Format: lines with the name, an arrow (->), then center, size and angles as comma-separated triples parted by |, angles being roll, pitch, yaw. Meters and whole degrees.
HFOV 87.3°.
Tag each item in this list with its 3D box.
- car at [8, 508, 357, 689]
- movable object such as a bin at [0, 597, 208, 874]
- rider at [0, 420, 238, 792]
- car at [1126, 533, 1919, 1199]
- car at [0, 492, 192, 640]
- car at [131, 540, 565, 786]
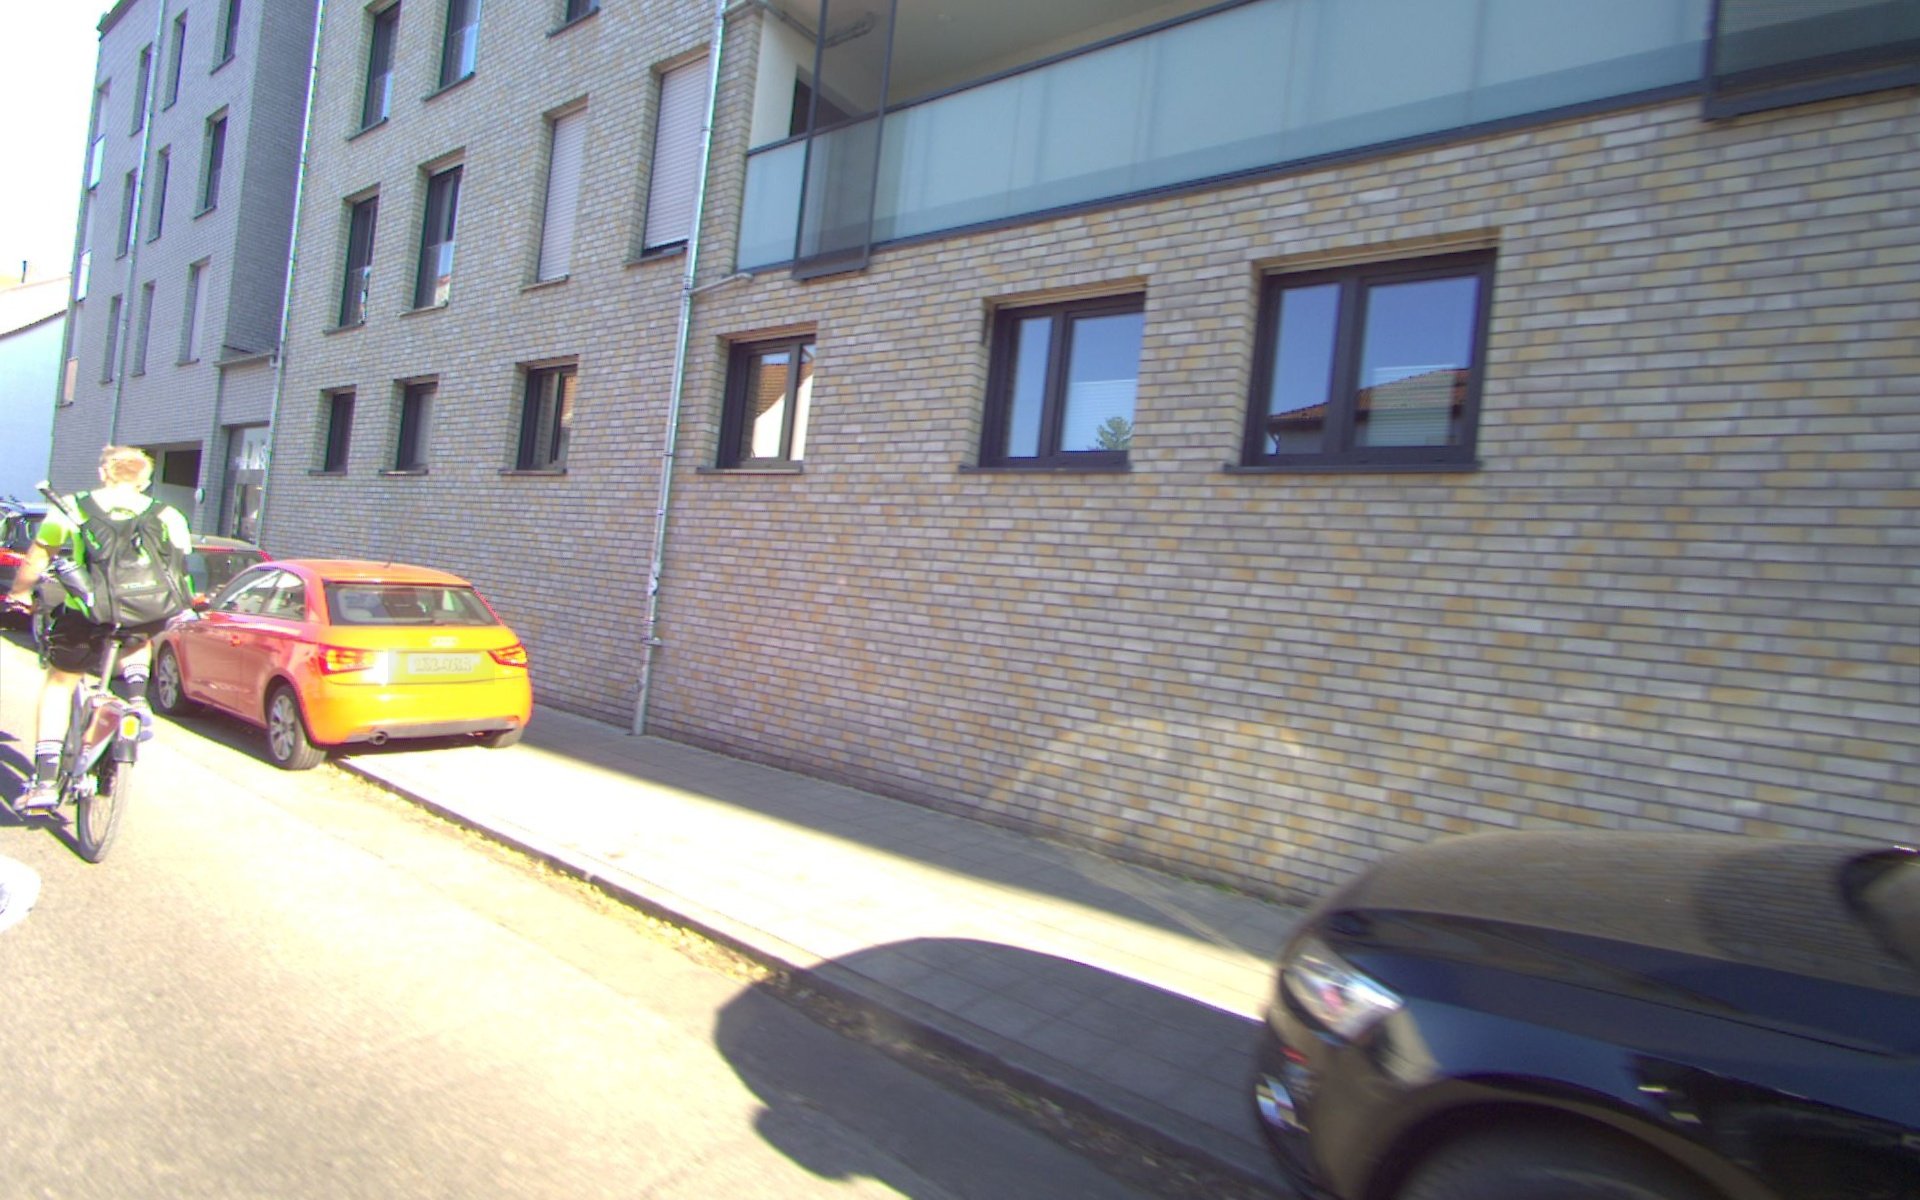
car -> -8.922, -0.066, 11.428 | 4.301, 1.523, 1.994 | 6, -1, 37
movable object such as a bin -> -4.273, 0.571, 4.802 | 1.812, 1.043, 0.455 | 4, -5, 36
rider -> -4.156, 0.038, 4.802 | 1.067, 1.578, 0.654 | 4, -5, 36
car -> 2.850, 0.975, 1.604 | 4.708, 1.732, 1.887 | 6, -1, 42
car -> -13.037, -0.591, 14.288 | 4.688, 1.672, 1.995 | 6, -1, 36
car -> -5.201, 0.365, 8.344 | 4.012, 1.423, 1.710 | 6, 2, 38
